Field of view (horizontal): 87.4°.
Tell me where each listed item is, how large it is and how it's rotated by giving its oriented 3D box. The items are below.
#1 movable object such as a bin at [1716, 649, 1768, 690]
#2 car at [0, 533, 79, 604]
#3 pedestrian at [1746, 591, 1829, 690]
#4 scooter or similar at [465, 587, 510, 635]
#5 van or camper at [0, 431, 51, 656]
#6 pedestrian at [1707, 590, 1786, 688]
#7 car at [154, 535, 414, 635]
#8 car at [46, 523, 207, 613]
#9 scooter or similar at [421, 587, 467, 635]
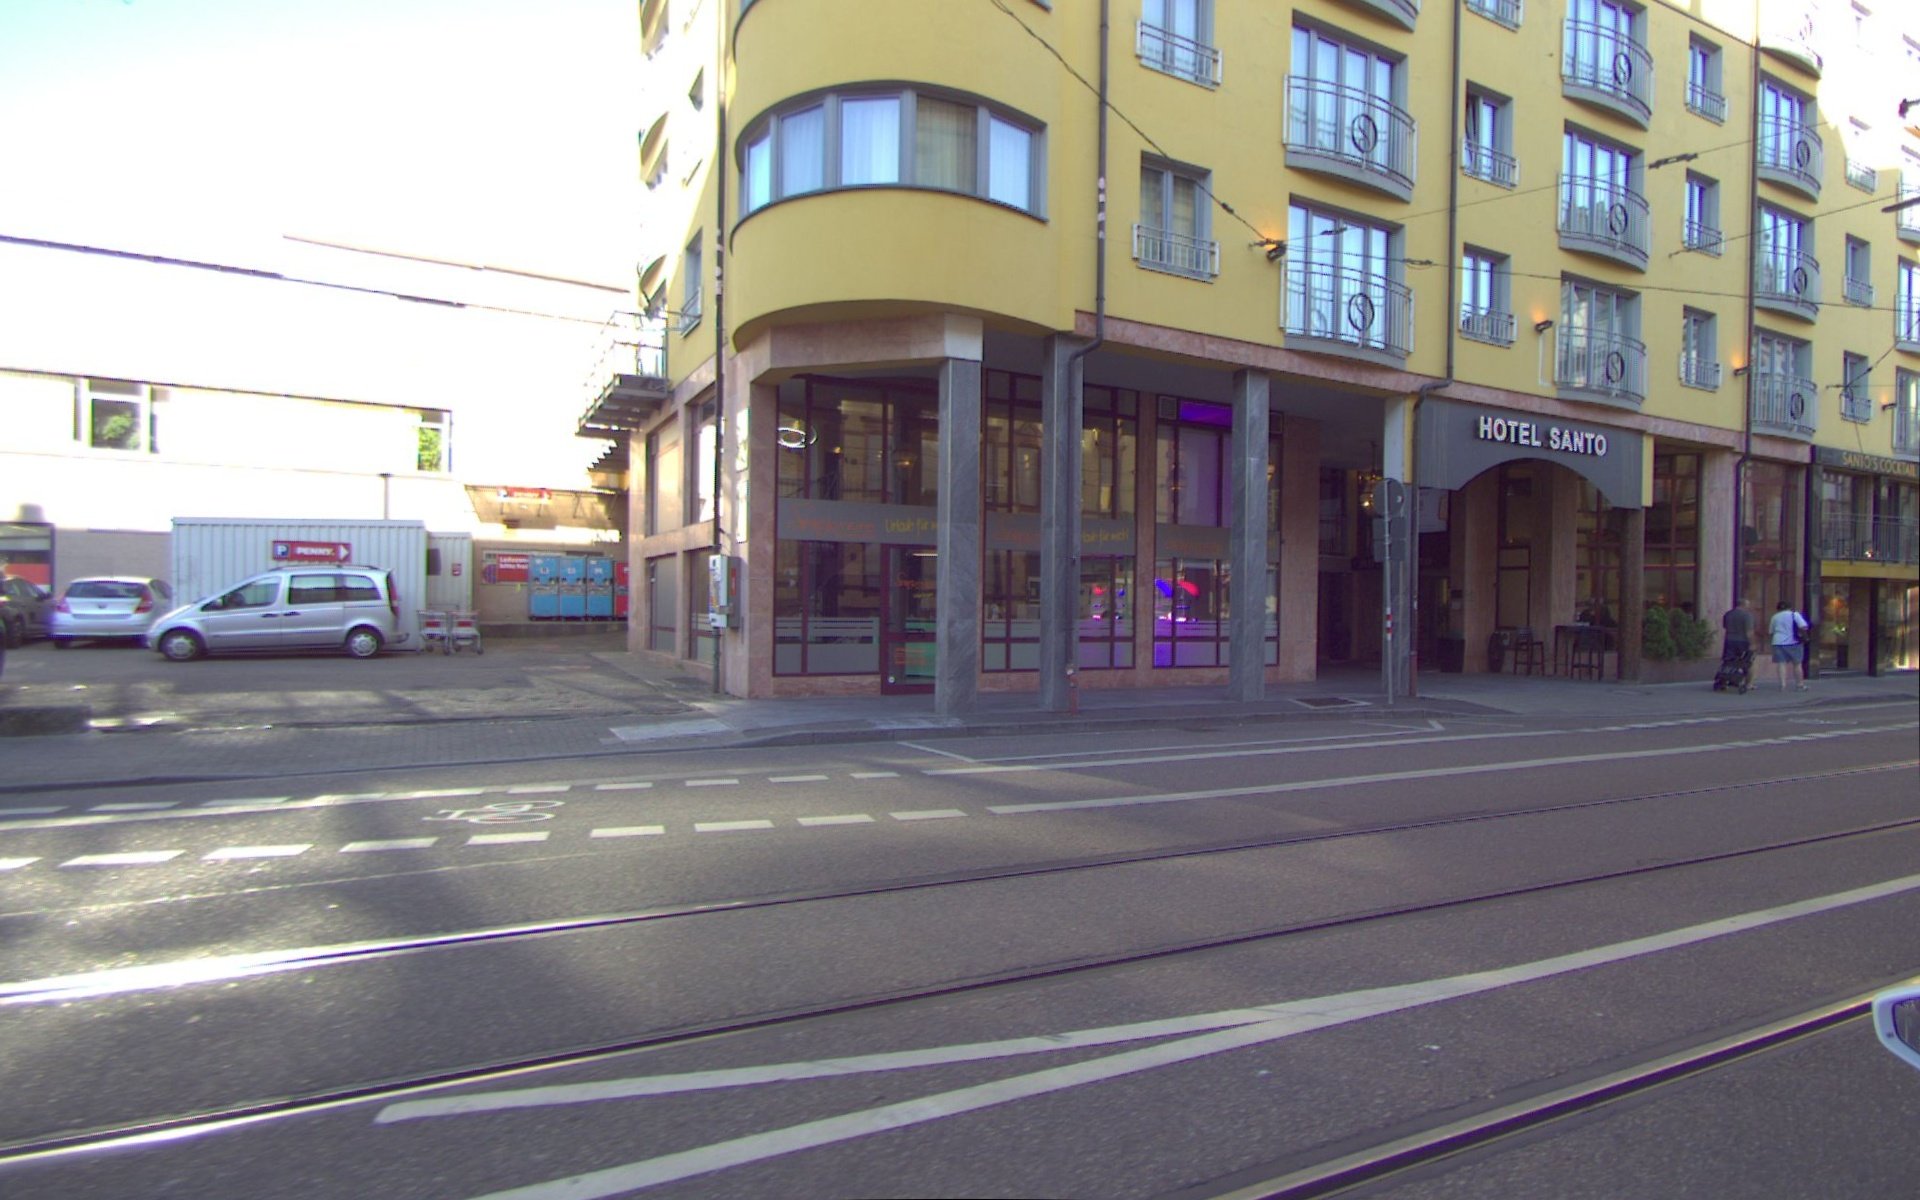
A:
[{"bbox_3d":[14.842,1.313,19.070,0.830,0.726,0.382,1,6,-27],"label":"movable object such as a bin"},{"bbox_3d":[-20.110,-0.716,20.806,1.976,1.372,3.968,2,1,-29],"label":"car"},{"bbox_3d":[16.410,0.787,19.932,1.032,1.843,0.748,1,6,-28],"label":"pedestrian"},{"bbox_3d":[-10.453,0.235,22.196,0.800,0.997,1.264,1,1,-29],"label":"scooter or similar"},{"bbox_3d":[-12.754,-0.705,11.284,2.285,2.865,5.586,1,1,-26],"label":"van or camper"},{"bbox_3d":[15.409,0.752,19.692,0.740,1.795,0.794,1,6,-28],"label":"pedestrian"},{"bbox_3d":[-13.201,-0.261,19.965,4.071,1.759,1.984,2,1,-29],"label":"car"},{"bbox_3d":[-18.047,-0.697,21.973,1.976,1.723,3.968,2,1,-29],"label":"car"},{"bbox_3d":[-11.191,0.233,21.756,0.838,0.967,1.280,1,1,-29],"label":"scooter or similar"}]
